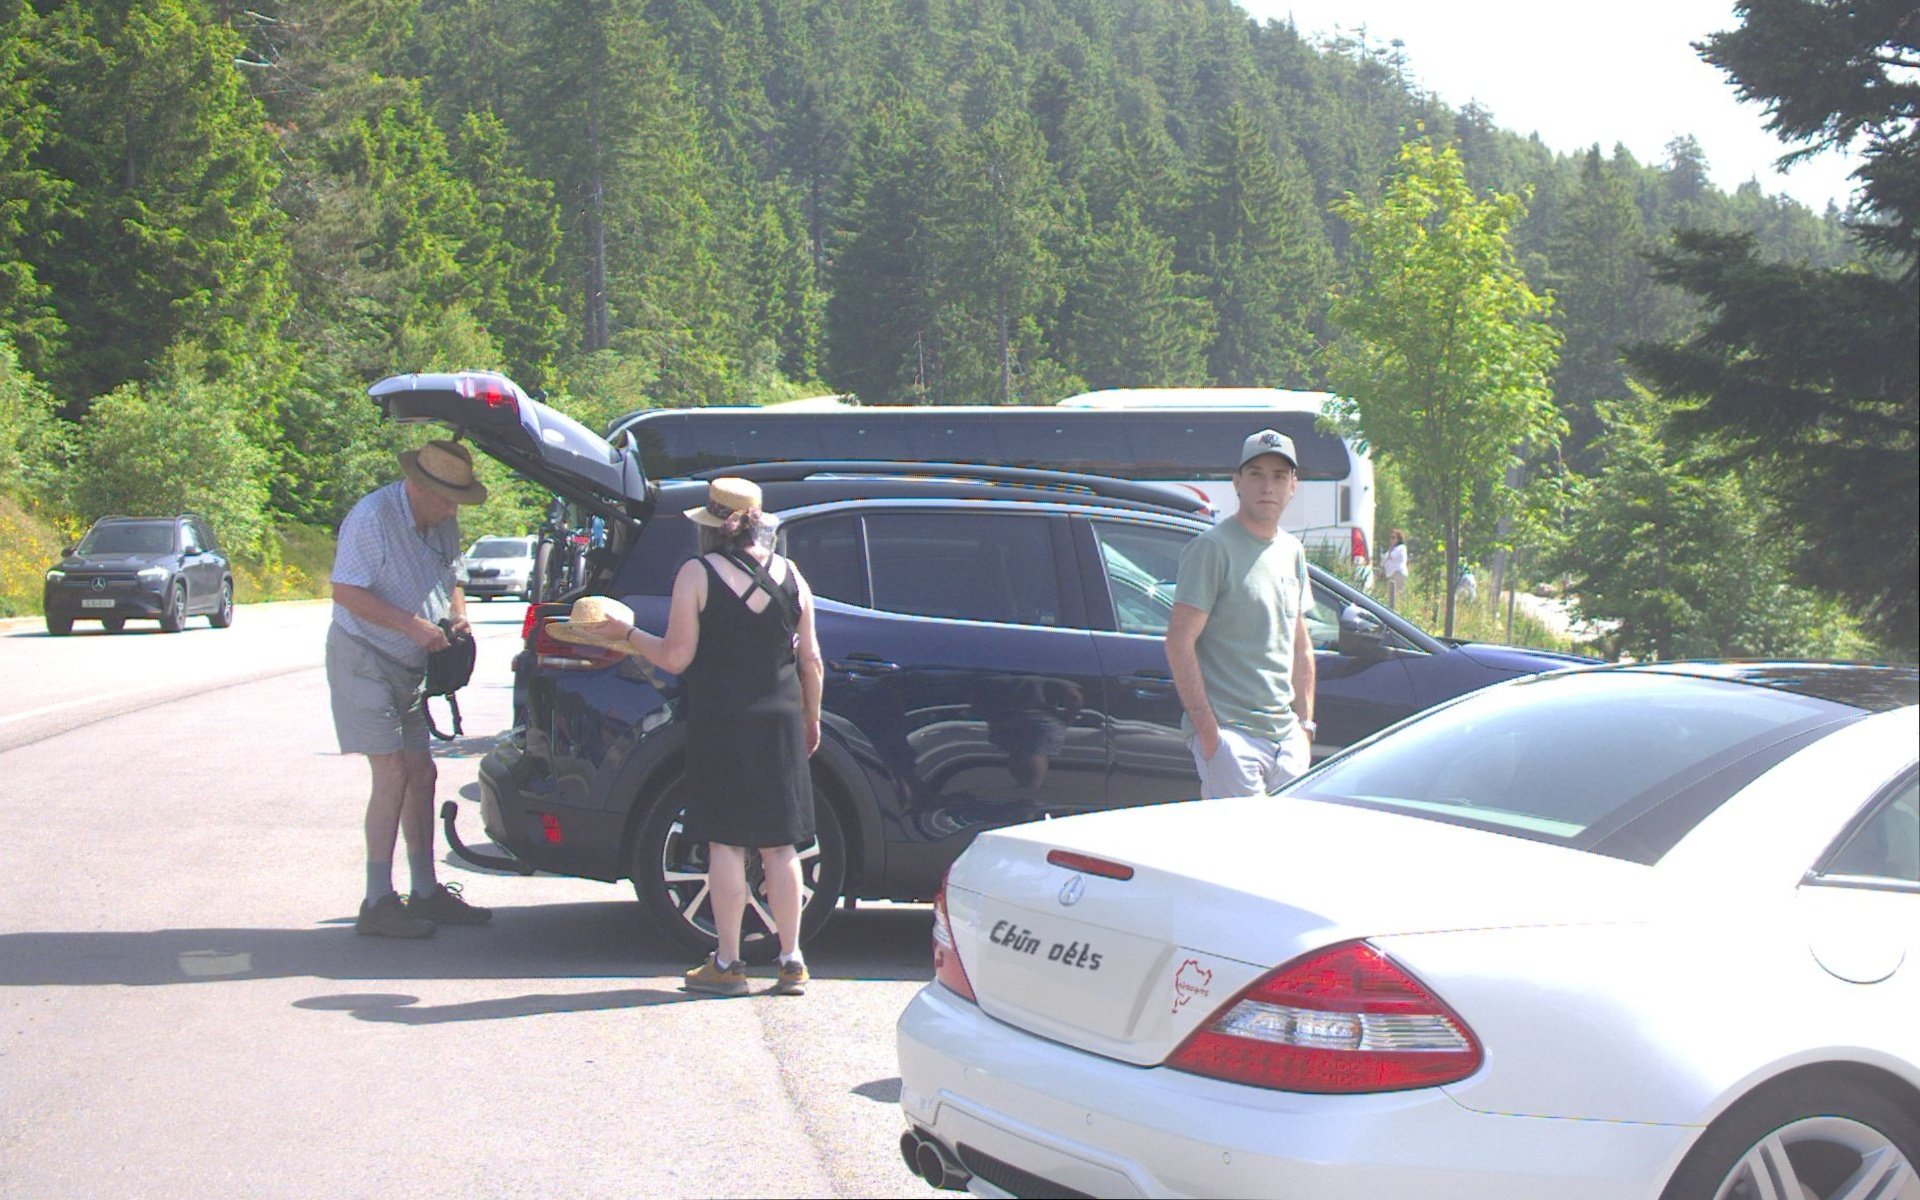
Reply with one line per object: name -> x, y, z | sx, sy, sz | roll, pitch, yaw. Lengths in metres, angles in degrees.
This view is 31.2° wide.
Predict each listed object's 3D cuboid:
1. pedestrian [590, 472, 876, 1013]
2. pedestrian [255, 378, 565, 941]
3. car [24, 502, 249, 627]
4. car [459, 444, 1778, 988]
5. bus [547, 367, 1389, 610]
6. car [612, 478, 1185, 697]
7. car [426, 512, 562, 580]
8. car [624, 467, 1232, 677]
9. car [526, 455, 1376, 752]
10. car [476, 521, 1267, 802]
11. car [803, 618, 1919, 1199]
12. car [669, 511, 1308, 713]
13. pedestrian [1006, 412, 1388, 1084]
pedestrian -> -0.704, 0.424, 10.601 | 0.714, 1.607, 0.537 | 1, 0, -23
pedestrian -> -1.906, 0.172, 11.948 | 0.736, 1.864, 0.757 | 3, 4, 27
car -> -11.676, -0.542, 49.060 | 1.993, 1.641, 4.567 | -1, 2, 1
car -> 0.447, 0.393, 12.244 | 4.343, 1.620, 1.870 | 3, 0, -8
bus -> 0.207, -1.745, 54.849 | 13.097, 3.520, 3.043 | -1, 1, 8
car -> -0.492, -0.123, 26.502 | 4.243, 1.548, 1.838 | -1, 1, -3
car -> -10.315, -1.228, 76.445 | 1.879, 1.469, 4.713 | 0, 1, 7
car -> -0.300, -0.263, 29.627 | 5.033, 1.645, 2.048 | -1, 1, -3
car -> -0.058, -0.007, 21.037 | 4.949, 1.690, 1.945 | -1, 2, -1
car -> -0.545, 0.314, 18.707 | 4.080, 1.372, 1.703 | 1, 1, -9
car -> 2.076, 0.773, 6.775 | 4.397, 1.291, 1.756 | 2, 2, -26
car -> 0.157, 0.055, 23.846 | 4.243, 1.264, 1.838 | -1, 1, -3
pedestrian -> 0.663, 0.393, 9.695 | 0.746, 1.794, 0.736 | 1, 0, -35
